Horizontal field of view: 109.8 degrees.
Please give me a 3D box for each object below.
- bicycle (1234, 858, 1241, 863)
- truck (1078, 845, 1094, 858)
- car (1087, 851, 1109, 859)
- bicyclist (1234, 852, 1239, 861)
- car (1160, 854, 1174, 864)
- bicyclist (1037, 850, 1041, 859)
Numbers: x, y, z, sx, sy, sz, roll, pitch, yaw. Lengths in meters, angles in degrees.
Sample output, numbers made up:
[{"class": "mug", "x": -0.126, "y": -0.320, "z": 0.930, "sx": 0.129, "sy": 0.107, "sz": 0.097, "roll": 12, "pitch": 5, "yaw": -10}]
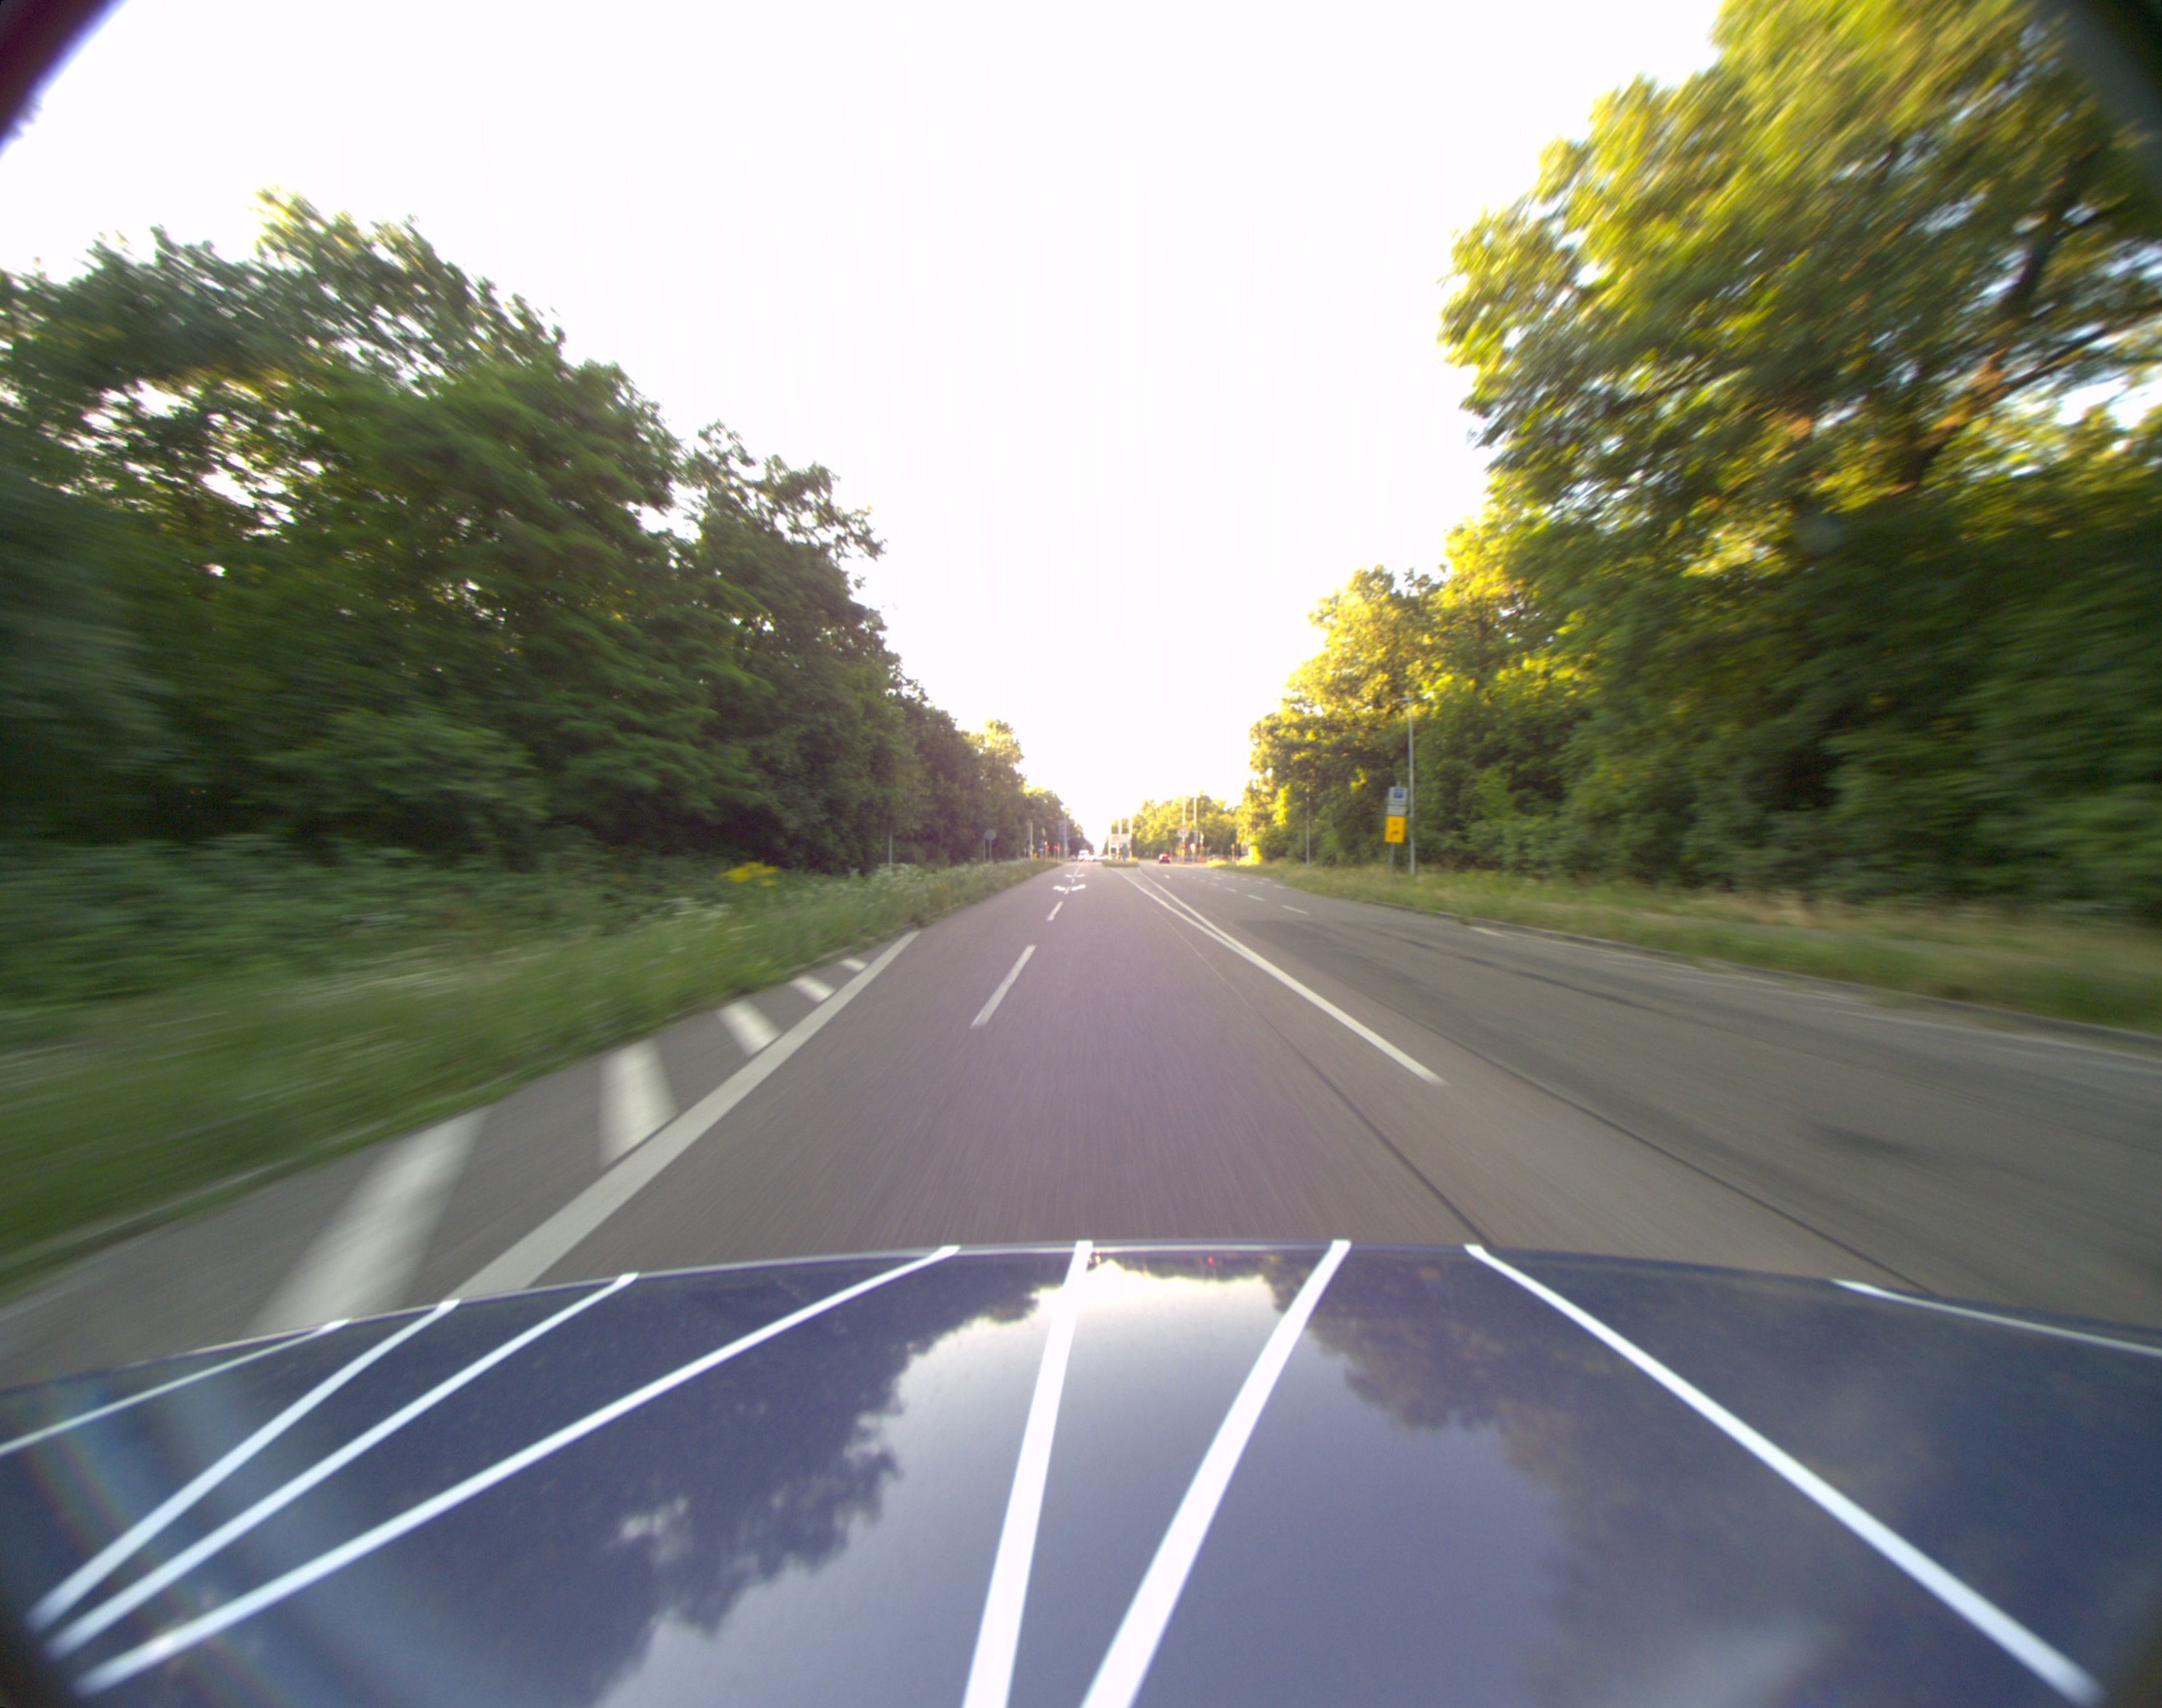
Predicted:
[{"class": "bicycle", "x": 25.621, "y": 1.093, "z": 124.644, "sx": 0.586, "sy": 0.800, "sz": 1.962, "roll": 1, "pitch": 0, "yaw": 28}, {"class": "truck", "x": 1.106, "y": -0.516, "z": 166.281, "sx": 2.601, "sy": 2.542, "sz": 6.026, "roll": -2, "pitch": 1, "yaw": 10}, {"class": "car", "x": 3.499, "y": 0.219, "z": 154.716, "sx": 4.235, "sy": 1.447, "sz": 1.719, "roll": 0, "pitch": 0, "yaw": -15}, {"class": "bicyclist", "x": 25.500, "y": 0.438, "z": 124.419, "sx": 0.586, "sy": 1.421, "sz": 0.824, "roll": 1, "pitch": 1, "yaw": 28}, {"class": "car", "x": 14.595, "y": 0.874, "z": 128.765, "sx": 1.822, "sy": 1.525, "sz": 4.459, "roll": 2, "pitch": 1, "yaw": 12}, {"class": "bicyclist", "x": -6.686, "y": 0.087, "z": 121.911, "sx": 0.604, "sy": 1.447, "sz": 0.780, "roll": 0, "pitch": 1, "yaw": 2}]
